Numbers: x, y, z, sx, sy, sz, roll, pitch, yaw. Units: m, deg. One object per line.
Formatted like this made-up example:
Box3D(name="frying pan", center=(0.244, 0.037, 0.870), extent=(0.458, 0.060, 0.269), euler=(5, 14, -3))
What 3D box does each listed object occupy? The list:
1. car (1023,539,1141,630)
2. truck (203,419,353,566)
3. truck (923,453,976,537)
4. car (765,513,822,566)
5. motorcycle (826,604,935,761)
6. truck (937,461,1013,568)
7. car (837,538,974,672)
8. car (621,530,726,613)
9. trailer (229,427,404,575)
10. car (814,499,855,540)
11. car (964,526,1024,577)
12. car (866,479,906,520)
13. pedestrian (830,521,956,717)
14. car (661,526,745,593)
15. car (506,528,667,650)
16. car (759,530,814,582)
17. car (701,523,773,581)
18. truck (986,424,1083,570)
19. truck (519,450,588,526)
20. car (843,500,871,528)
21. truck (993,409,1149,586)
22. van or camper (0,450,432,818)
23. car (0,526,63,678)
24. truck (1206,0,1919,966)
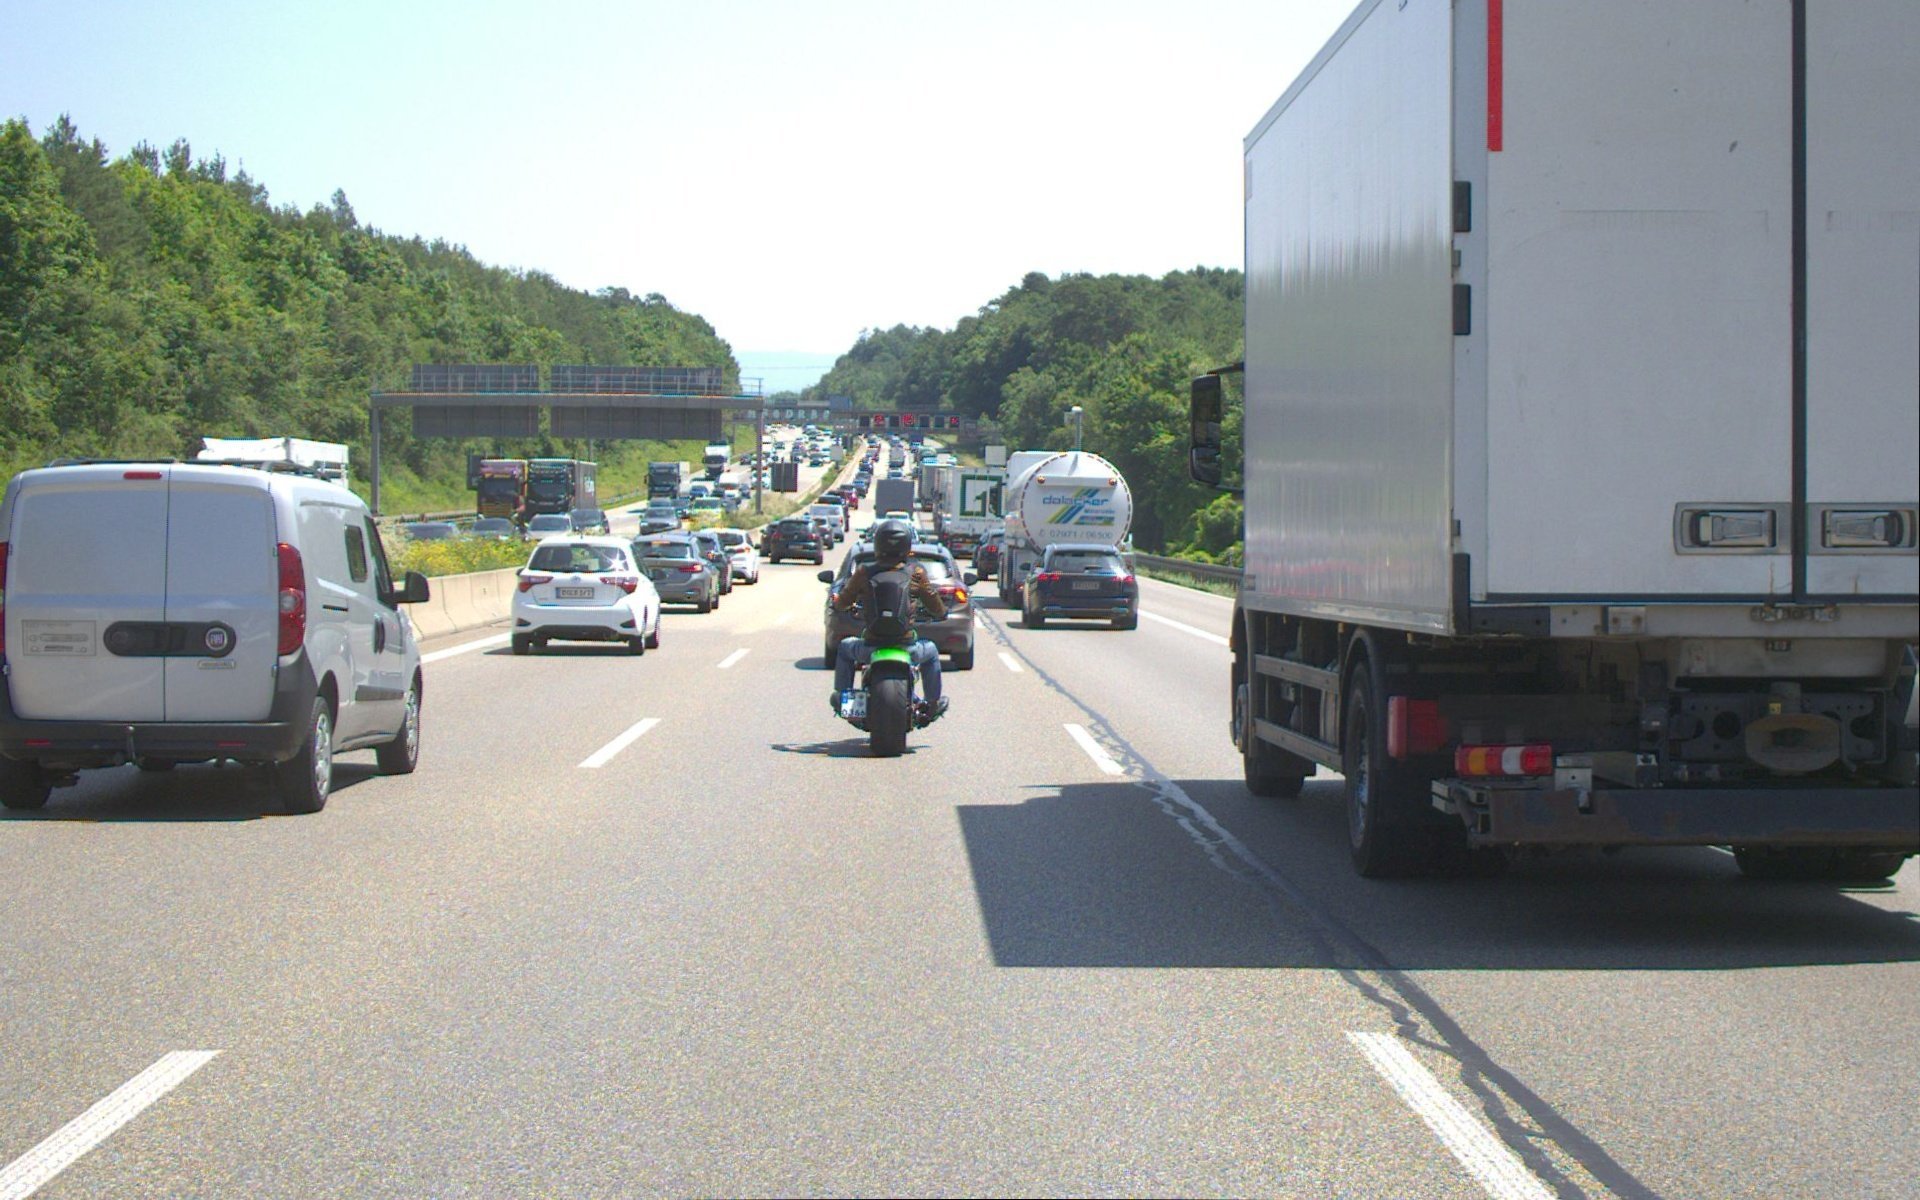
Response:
Box3D(name="car", center=(2.096, -0.295, 60.032), extent=(1.828, 1.465, 4.000), euler=(2, 1, -1))
Box3D(name="truck", center=(-20.104, -3.100, 101.749), extent=(2.803, 4.151, 7.600), euler=(0, 1, 1))
Box3D(name="truck", center=(-0.716, -6.612, 217.304), extent=(3.033, 5.121, 9.983), euler=(2, 1, -1))
Box3D(name="car", center=(-5.954, -2.183, 123.272), extent=(1.880, 1.853, 4.000), euler=(1, 1, -1))
Box3D(name="motorcycle", center=(-0.553, 0.570, 24.631), extent=(0.691, 1.012, 2.121), euler=(1, 1, 0))
Box3D(name="truck", center=(0.620, -3.850, 154.698), extent=(3.033, 4.526, 9.983), euler=(2, 1, -1))
Box3D(name="car", center=(-0.677, 0.019, 41.339), extent=(1.532, 1.504, 4.000), euler=(-1, 1, -2))
Box3D(name="car", center=(-5.373, -0.560, 64.830), extent=(1.699, 1.473, 4.000), euler=(1, 1, -1))
Box3D(name="trailer", center=(-20.088, -2.979, 108.281), extent=(2.803, 4.323, 14.037), euler=(0, 1, 0))
Box3D(name="car", center=(-6.500, -4.159, 178.255), extent=(1.929, 2.007, 4.000), euler=(-1, 1, 0))
Box3D(name="car", center=(1.059, -1.549, 108.538), extent=(1.787, 1.550, 3.804), euler=(1, 1, -1))
Box3D(name="car", center=(-4.702, -6.407, 219.977), extent=(2.504, 2.578, 5.017), euler=(1, 1, -1))
Box3D(name="pedestrian", center=(-0.471, 0.124, 24.595), extent=(0.849, 1.357, 0.961), euler=(-1, 1, 0))
Box3D(name="car", center=(-5.968, -0.957, 80.036), extent=(1.699, 1.473, 4.000), euler=(1, 1, -1))
Box3D(name="car", center=(-4.811, -0.178, 44.725), extent=(1.699, 1.473, 4.000), euler=(1, 1, -1))
Box3D(name="car", center=(-6.981, -1.774, 138.301), extent=(1.993, 2.007, 4.000), euler=(-1, 1, 0))
Box3D(name="car", center=(-5.905, -1.289, 91.461), extent=(1.699, 1.473, 4.000), euler=(1, 1, -1))
Box3D(name="truck", center=(1.831, -2.525, 85.826), extent=(1.993, 3.510, 4.752), euler=(-1, 1, -3))
Box3D(name="truck", center=(-22.252, -6.090, 188.455), extent=(2.906, 3.960, 7.770), euler=(-1, 1, -1))
Box3D(name="car", center=(-7.667, -6.398, 256.178), extent=(1.993, 2.007, 4.000), euler=(1, 1, -1))
Box3D(name="truck", center=(2.368, -2.189, 76.743), extent=(2.988, 3.659, 9.288), euler=(-1, 1, -1))
Box3D(name="van or camper", center=(-4.286, 0.155, 20.000), extent=(1.796, 1.886, 4.160), euler=(1, 1, -1))
Box3D(name="car", center=(-12.306, 0.037, 41.367), extent=(1.993, 1.788, 4.000), euler=(-1, 1, -1))
Box3D(name="truck", center=(3.026, -0.738, 17.320), extent=(2.688, 3.863, 9.781), euler=(-2, 1, 0))
